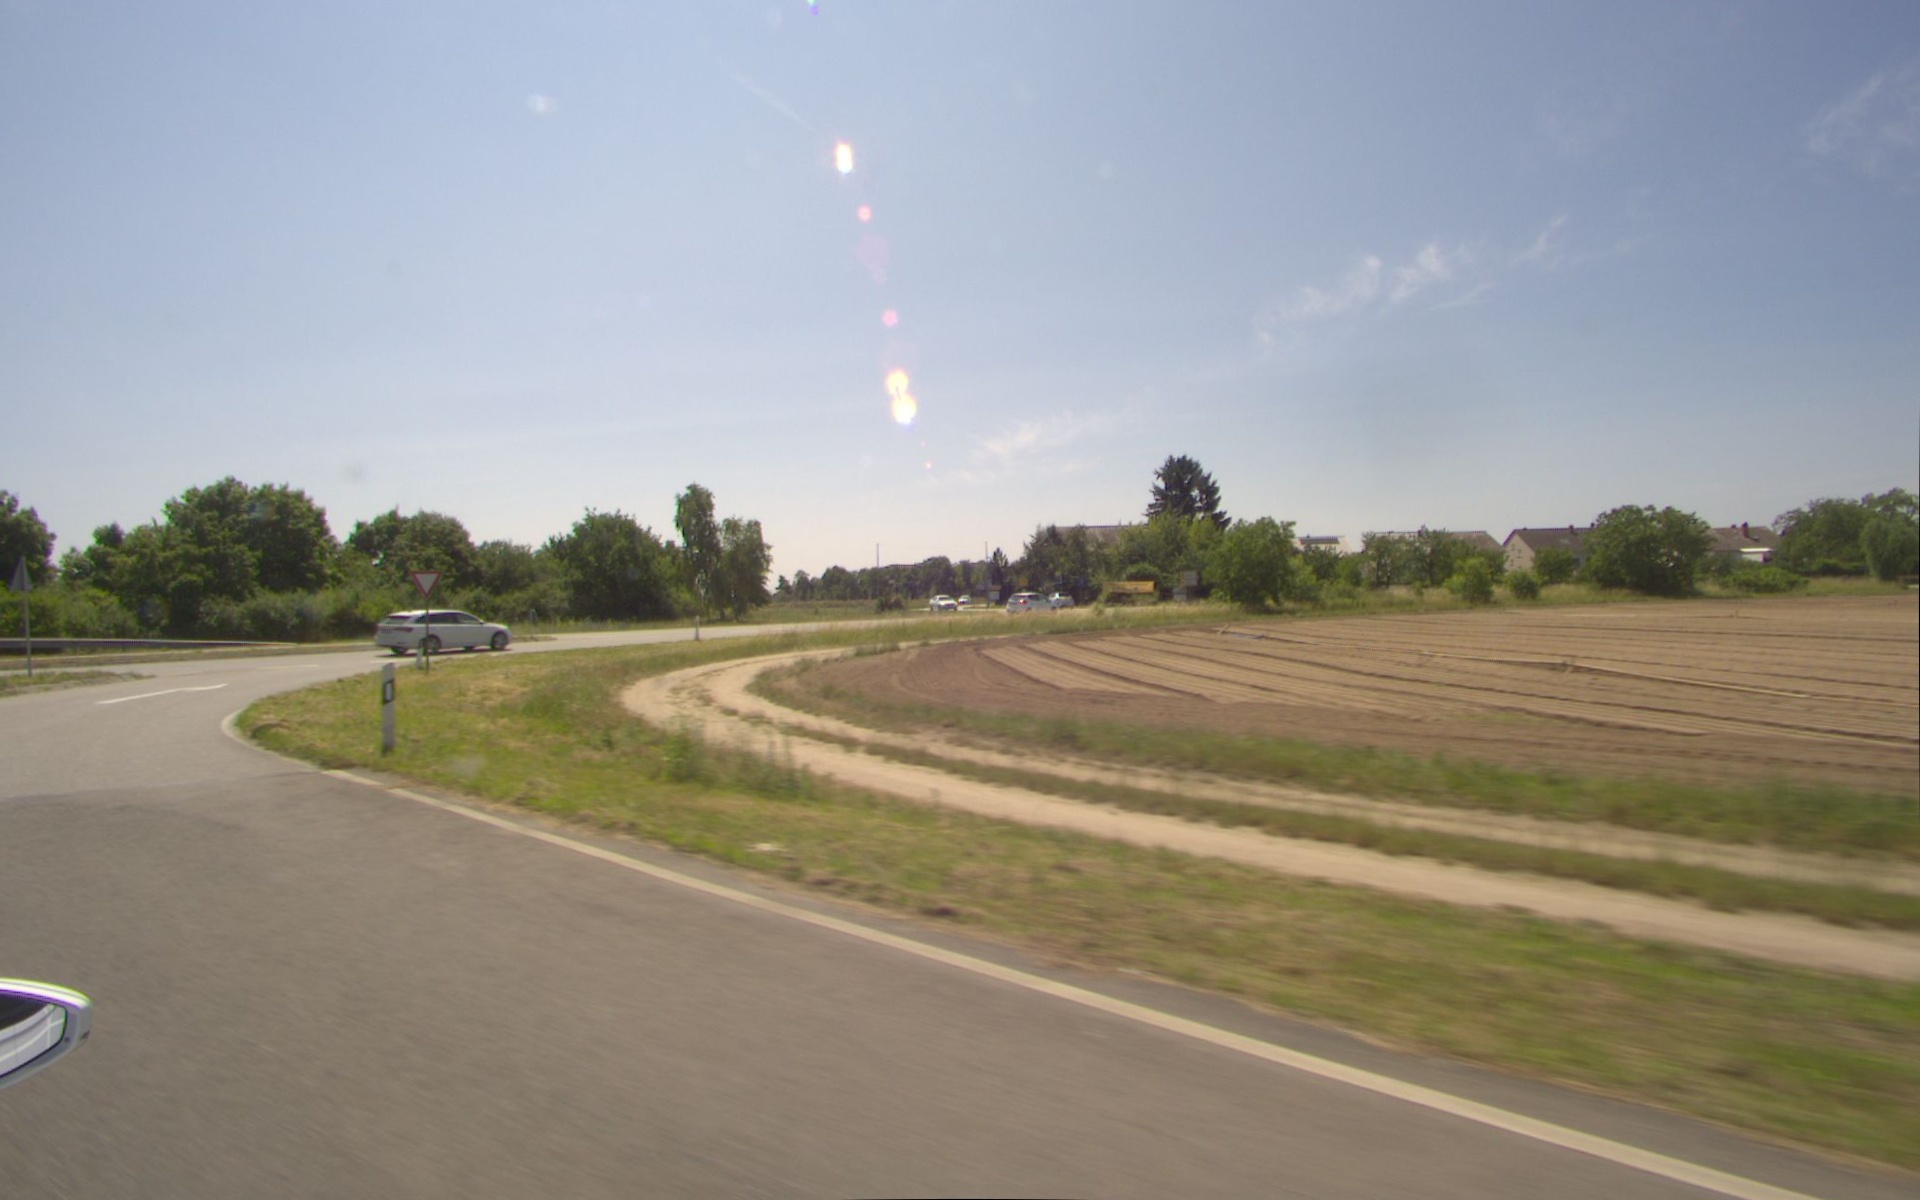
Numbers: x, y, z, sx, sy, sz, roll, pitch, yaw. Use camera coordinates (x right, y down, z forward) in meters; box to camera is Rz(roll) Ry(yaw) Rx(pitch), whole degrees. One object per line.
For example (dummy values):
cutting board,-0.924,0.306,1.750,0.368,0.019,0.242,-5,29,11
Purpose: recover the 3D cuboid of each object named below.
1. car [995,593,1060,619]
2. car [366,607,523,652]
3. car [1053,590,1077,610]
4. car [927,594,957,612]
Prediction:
car,4.577,0.382,67.533,4.095,1.645,2.054,-1,1,-40
car,-17.804,1.019,34.863,1.813,1.437,4.697,-1,-1,28
car,8.822,0.000,84.295,1.612,1.645,3.999,-1,0,0
car,-1.804,0.285,98.737,1.616,1.645,4.756,-1,0,-19
